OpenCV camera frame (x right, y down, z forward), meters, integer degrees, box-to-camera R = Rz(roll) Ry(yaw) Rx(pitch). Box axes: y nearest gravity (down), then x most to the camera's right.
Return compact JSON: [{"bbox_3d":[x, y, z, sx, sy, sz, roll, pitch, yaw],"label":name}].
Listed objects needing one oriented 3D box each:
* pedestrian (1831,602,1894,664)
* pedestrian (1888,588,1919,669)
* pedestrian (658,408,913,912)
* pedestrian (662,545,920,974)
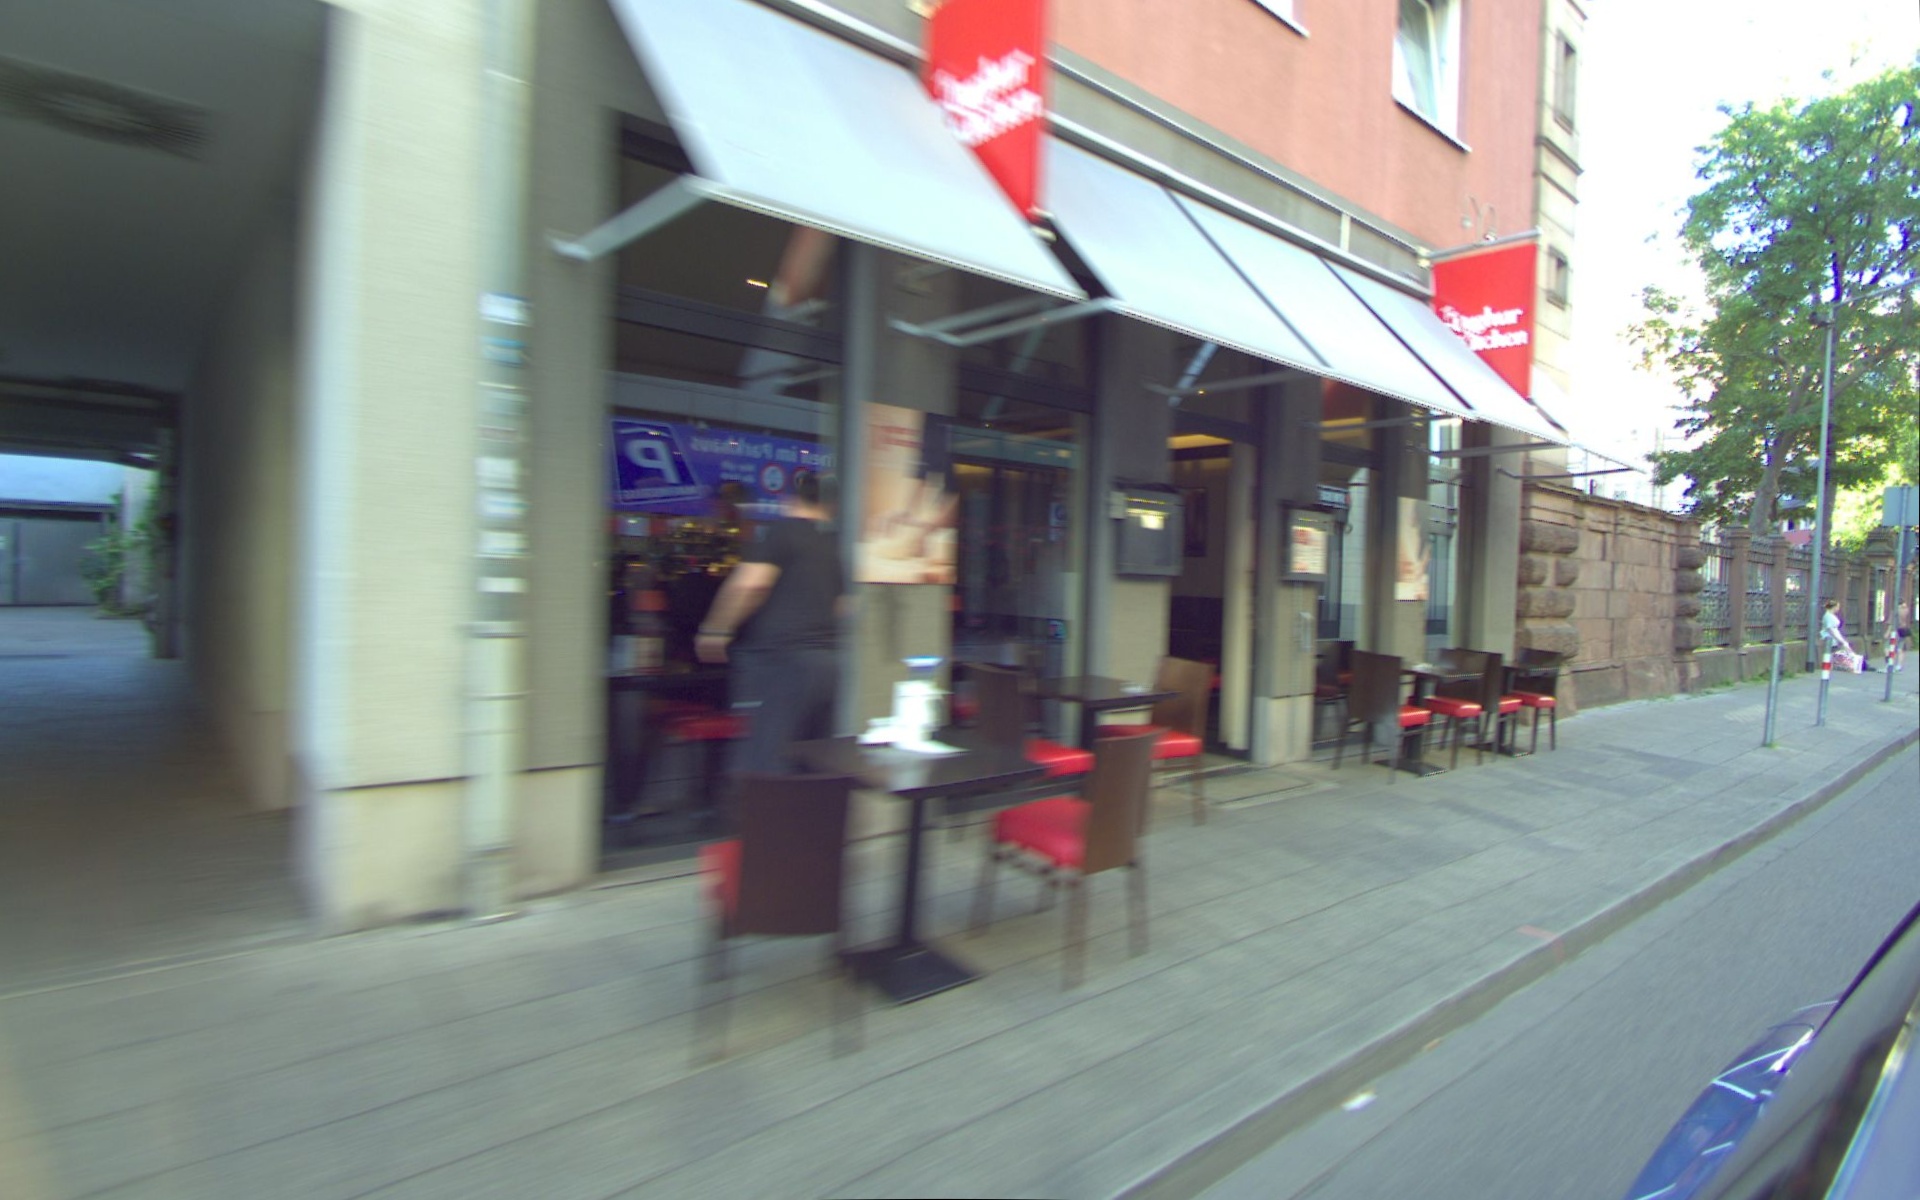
[{"bbox_3d":[19.534,0.707,21.918,0.356,1.264,0.927,1,3,-43],"label":"pedestrian"},{"bbox_3d":[20.150,0.599,21.492,0.546,1.666,0.438,1,2,-34],"label":"pedestrian"},{"bbox_3d":[-0.721,0.202,4.097,0.717,1.814,0.660,1,4,-36],"label":"pedestrian"},{"bbox_3d":[-0.694,0.545,4.070,0.649,1.504,0.826,1,1,-41],"label":"pedestrian"}]
